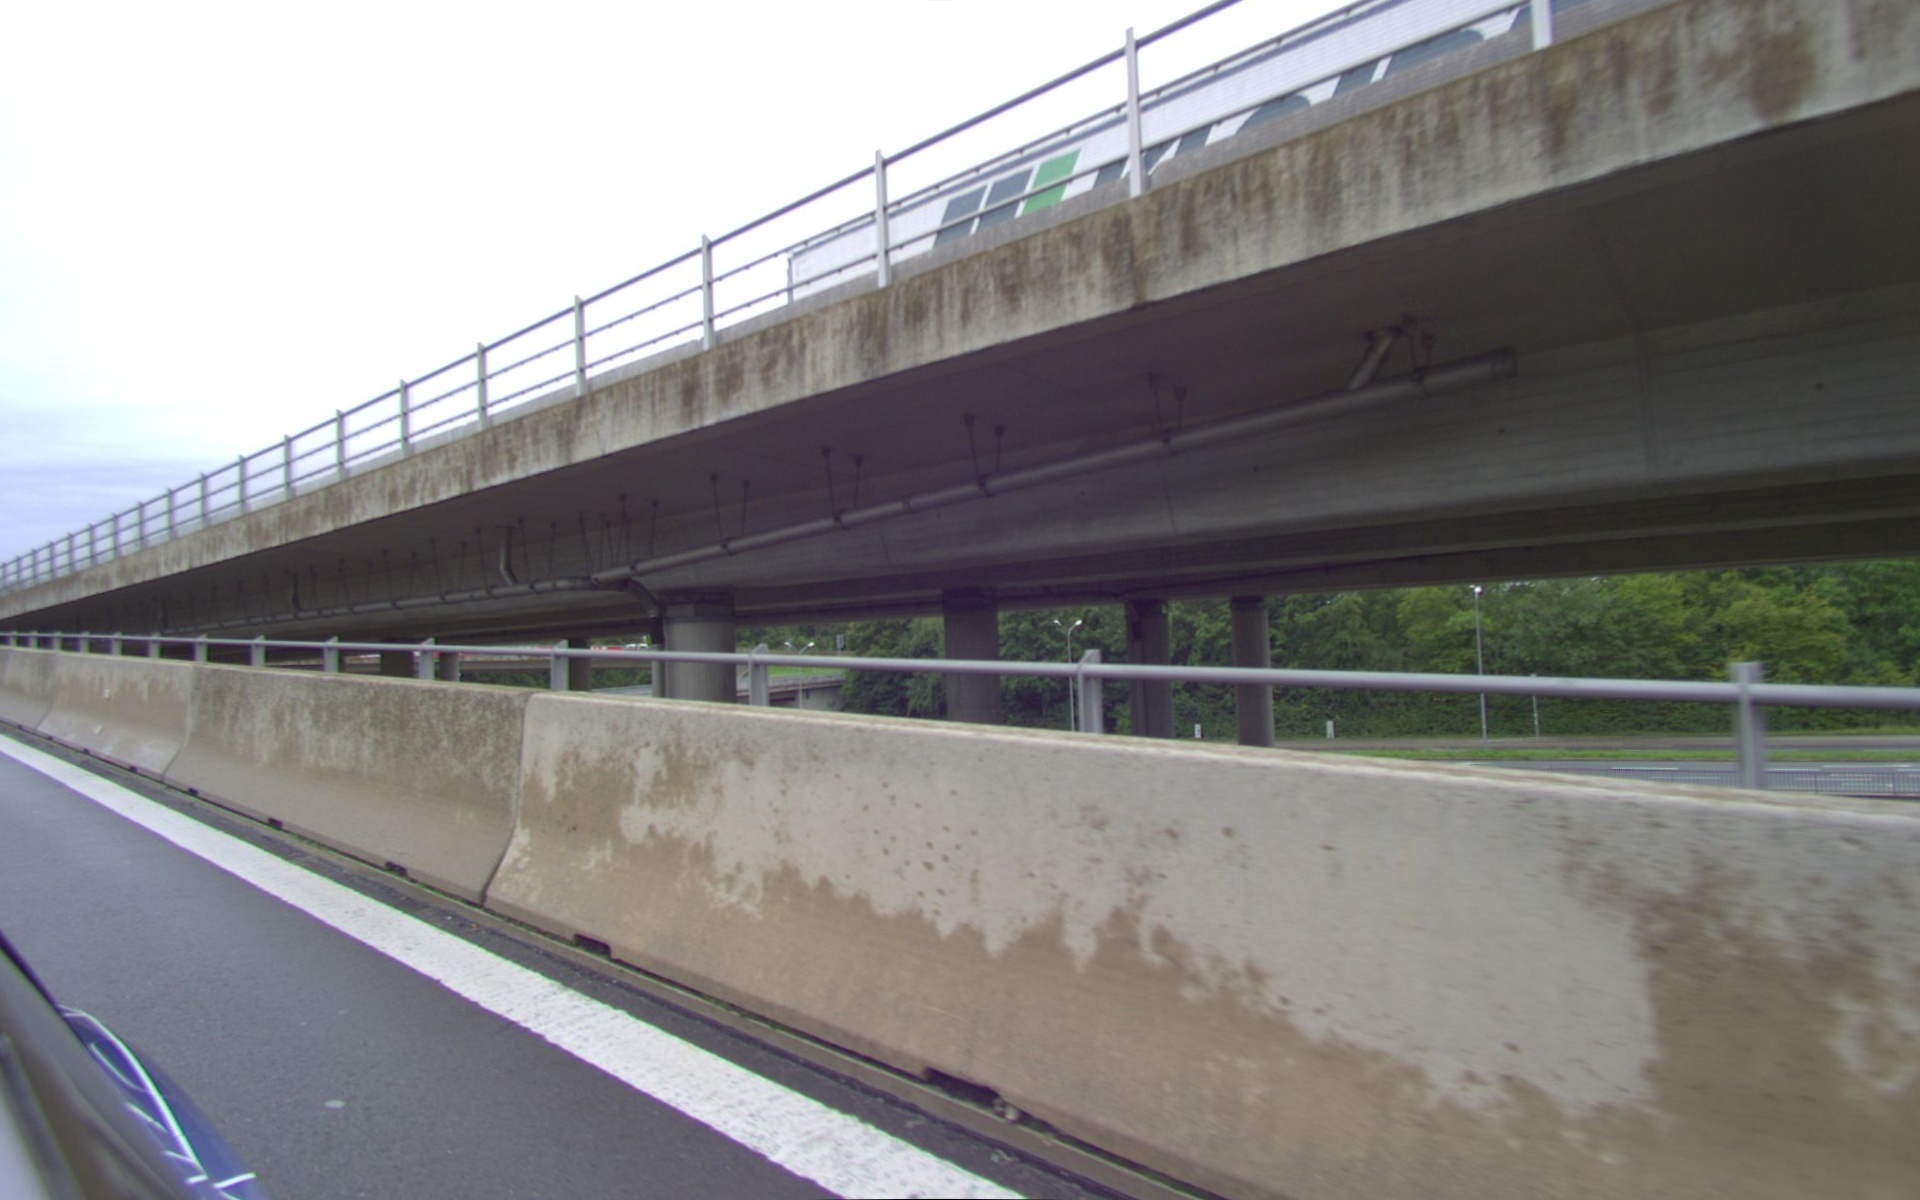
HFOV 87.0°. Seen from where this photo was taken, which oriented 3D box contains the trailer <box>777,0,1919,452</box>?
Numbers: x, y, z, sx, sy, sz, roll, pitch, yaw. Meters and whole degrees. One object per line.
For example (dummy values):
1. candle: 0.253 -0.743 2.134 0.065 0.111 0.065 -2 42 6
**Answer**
1. trailer: 3.199 -4.786 13.695 14.045 3.323 2.631 -4 -2 39
